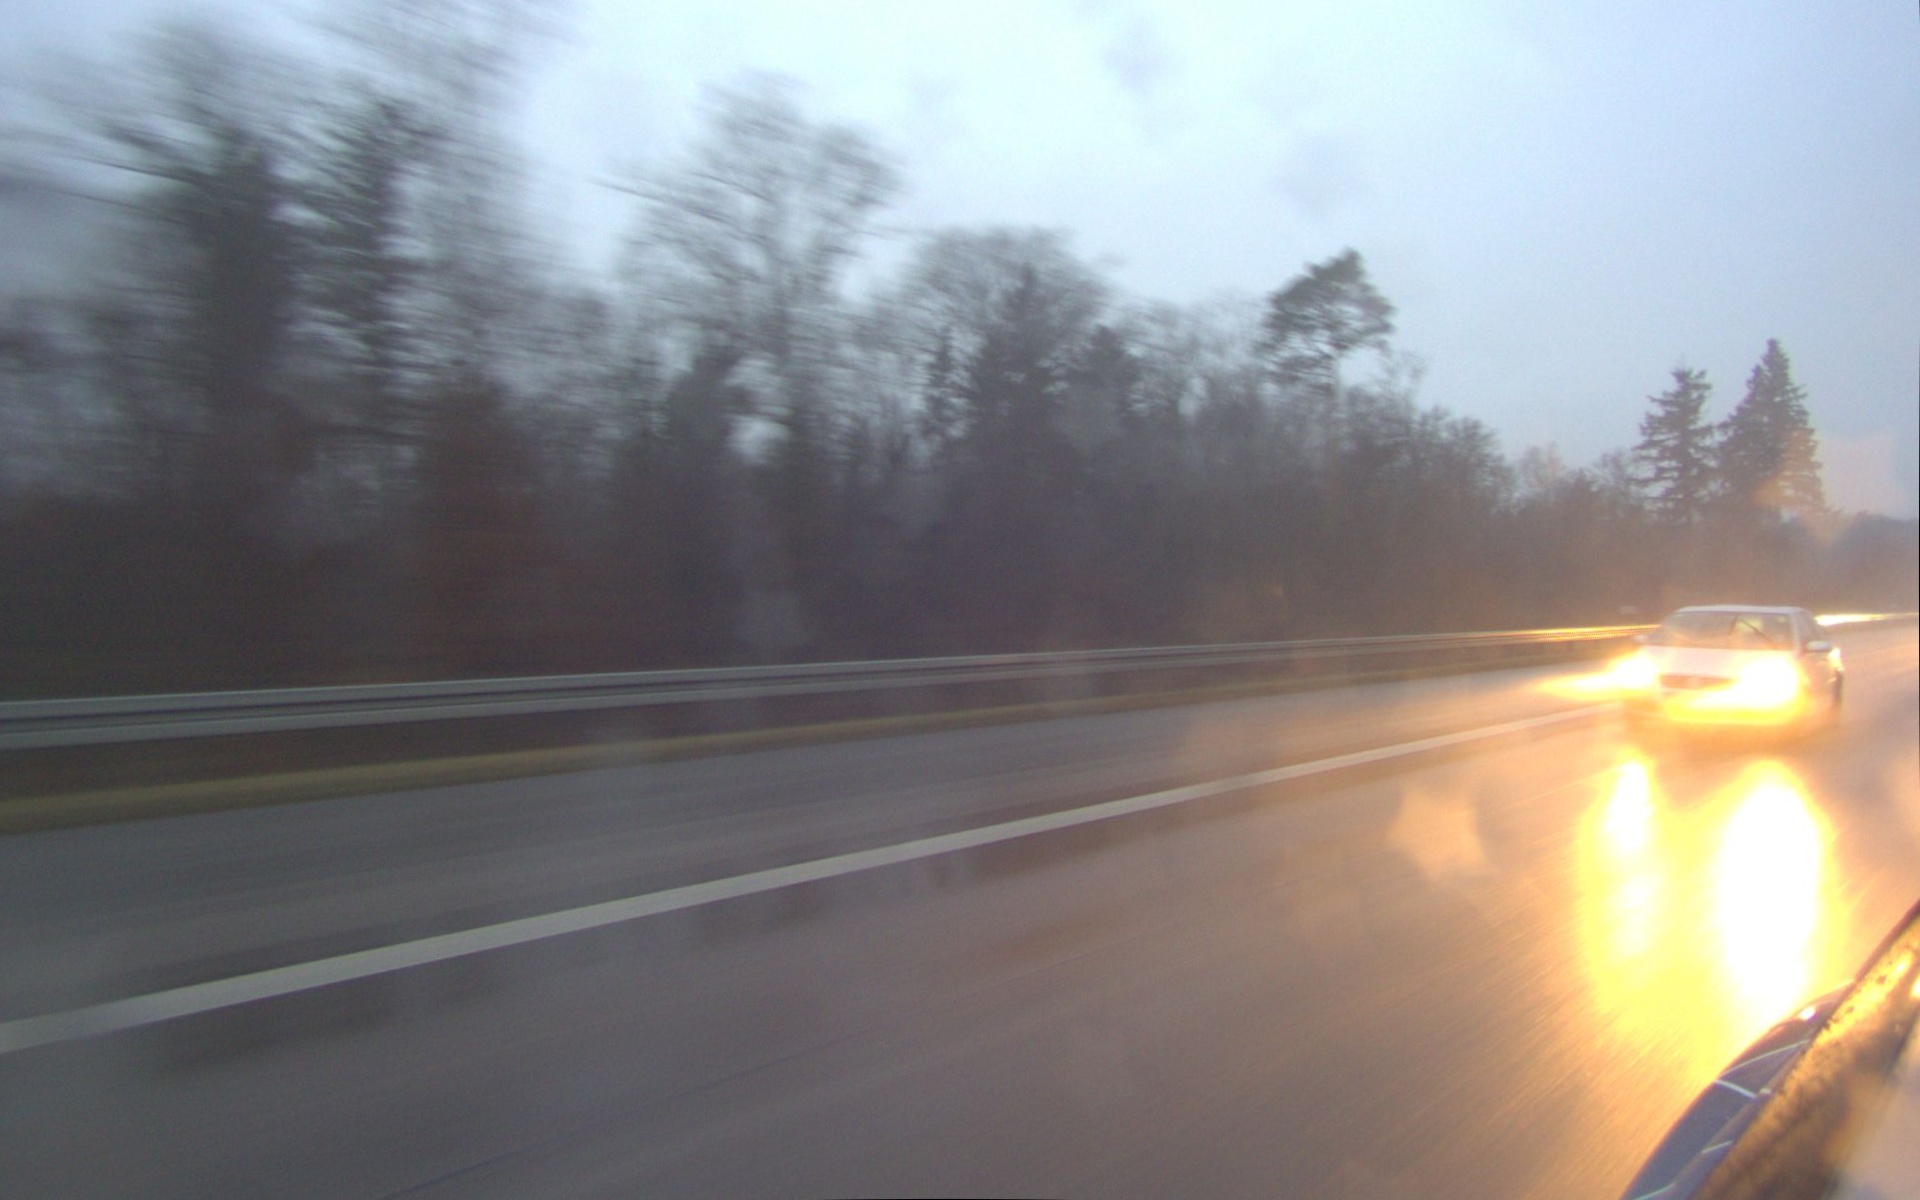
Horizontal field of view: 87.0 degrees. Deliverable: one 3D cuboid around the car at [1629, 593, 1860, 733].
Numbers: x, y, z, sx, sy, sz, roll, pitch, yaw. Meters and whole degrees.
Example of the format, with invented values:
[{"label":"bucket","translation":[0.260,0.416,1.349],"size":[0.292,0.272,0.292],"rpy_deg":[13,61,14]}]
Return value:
[{"label":"car","translation":[9.417,0.639,12.077],"size":[3.248,1.382,1.602],"rpy_deg":[-1,2,-42]}]
